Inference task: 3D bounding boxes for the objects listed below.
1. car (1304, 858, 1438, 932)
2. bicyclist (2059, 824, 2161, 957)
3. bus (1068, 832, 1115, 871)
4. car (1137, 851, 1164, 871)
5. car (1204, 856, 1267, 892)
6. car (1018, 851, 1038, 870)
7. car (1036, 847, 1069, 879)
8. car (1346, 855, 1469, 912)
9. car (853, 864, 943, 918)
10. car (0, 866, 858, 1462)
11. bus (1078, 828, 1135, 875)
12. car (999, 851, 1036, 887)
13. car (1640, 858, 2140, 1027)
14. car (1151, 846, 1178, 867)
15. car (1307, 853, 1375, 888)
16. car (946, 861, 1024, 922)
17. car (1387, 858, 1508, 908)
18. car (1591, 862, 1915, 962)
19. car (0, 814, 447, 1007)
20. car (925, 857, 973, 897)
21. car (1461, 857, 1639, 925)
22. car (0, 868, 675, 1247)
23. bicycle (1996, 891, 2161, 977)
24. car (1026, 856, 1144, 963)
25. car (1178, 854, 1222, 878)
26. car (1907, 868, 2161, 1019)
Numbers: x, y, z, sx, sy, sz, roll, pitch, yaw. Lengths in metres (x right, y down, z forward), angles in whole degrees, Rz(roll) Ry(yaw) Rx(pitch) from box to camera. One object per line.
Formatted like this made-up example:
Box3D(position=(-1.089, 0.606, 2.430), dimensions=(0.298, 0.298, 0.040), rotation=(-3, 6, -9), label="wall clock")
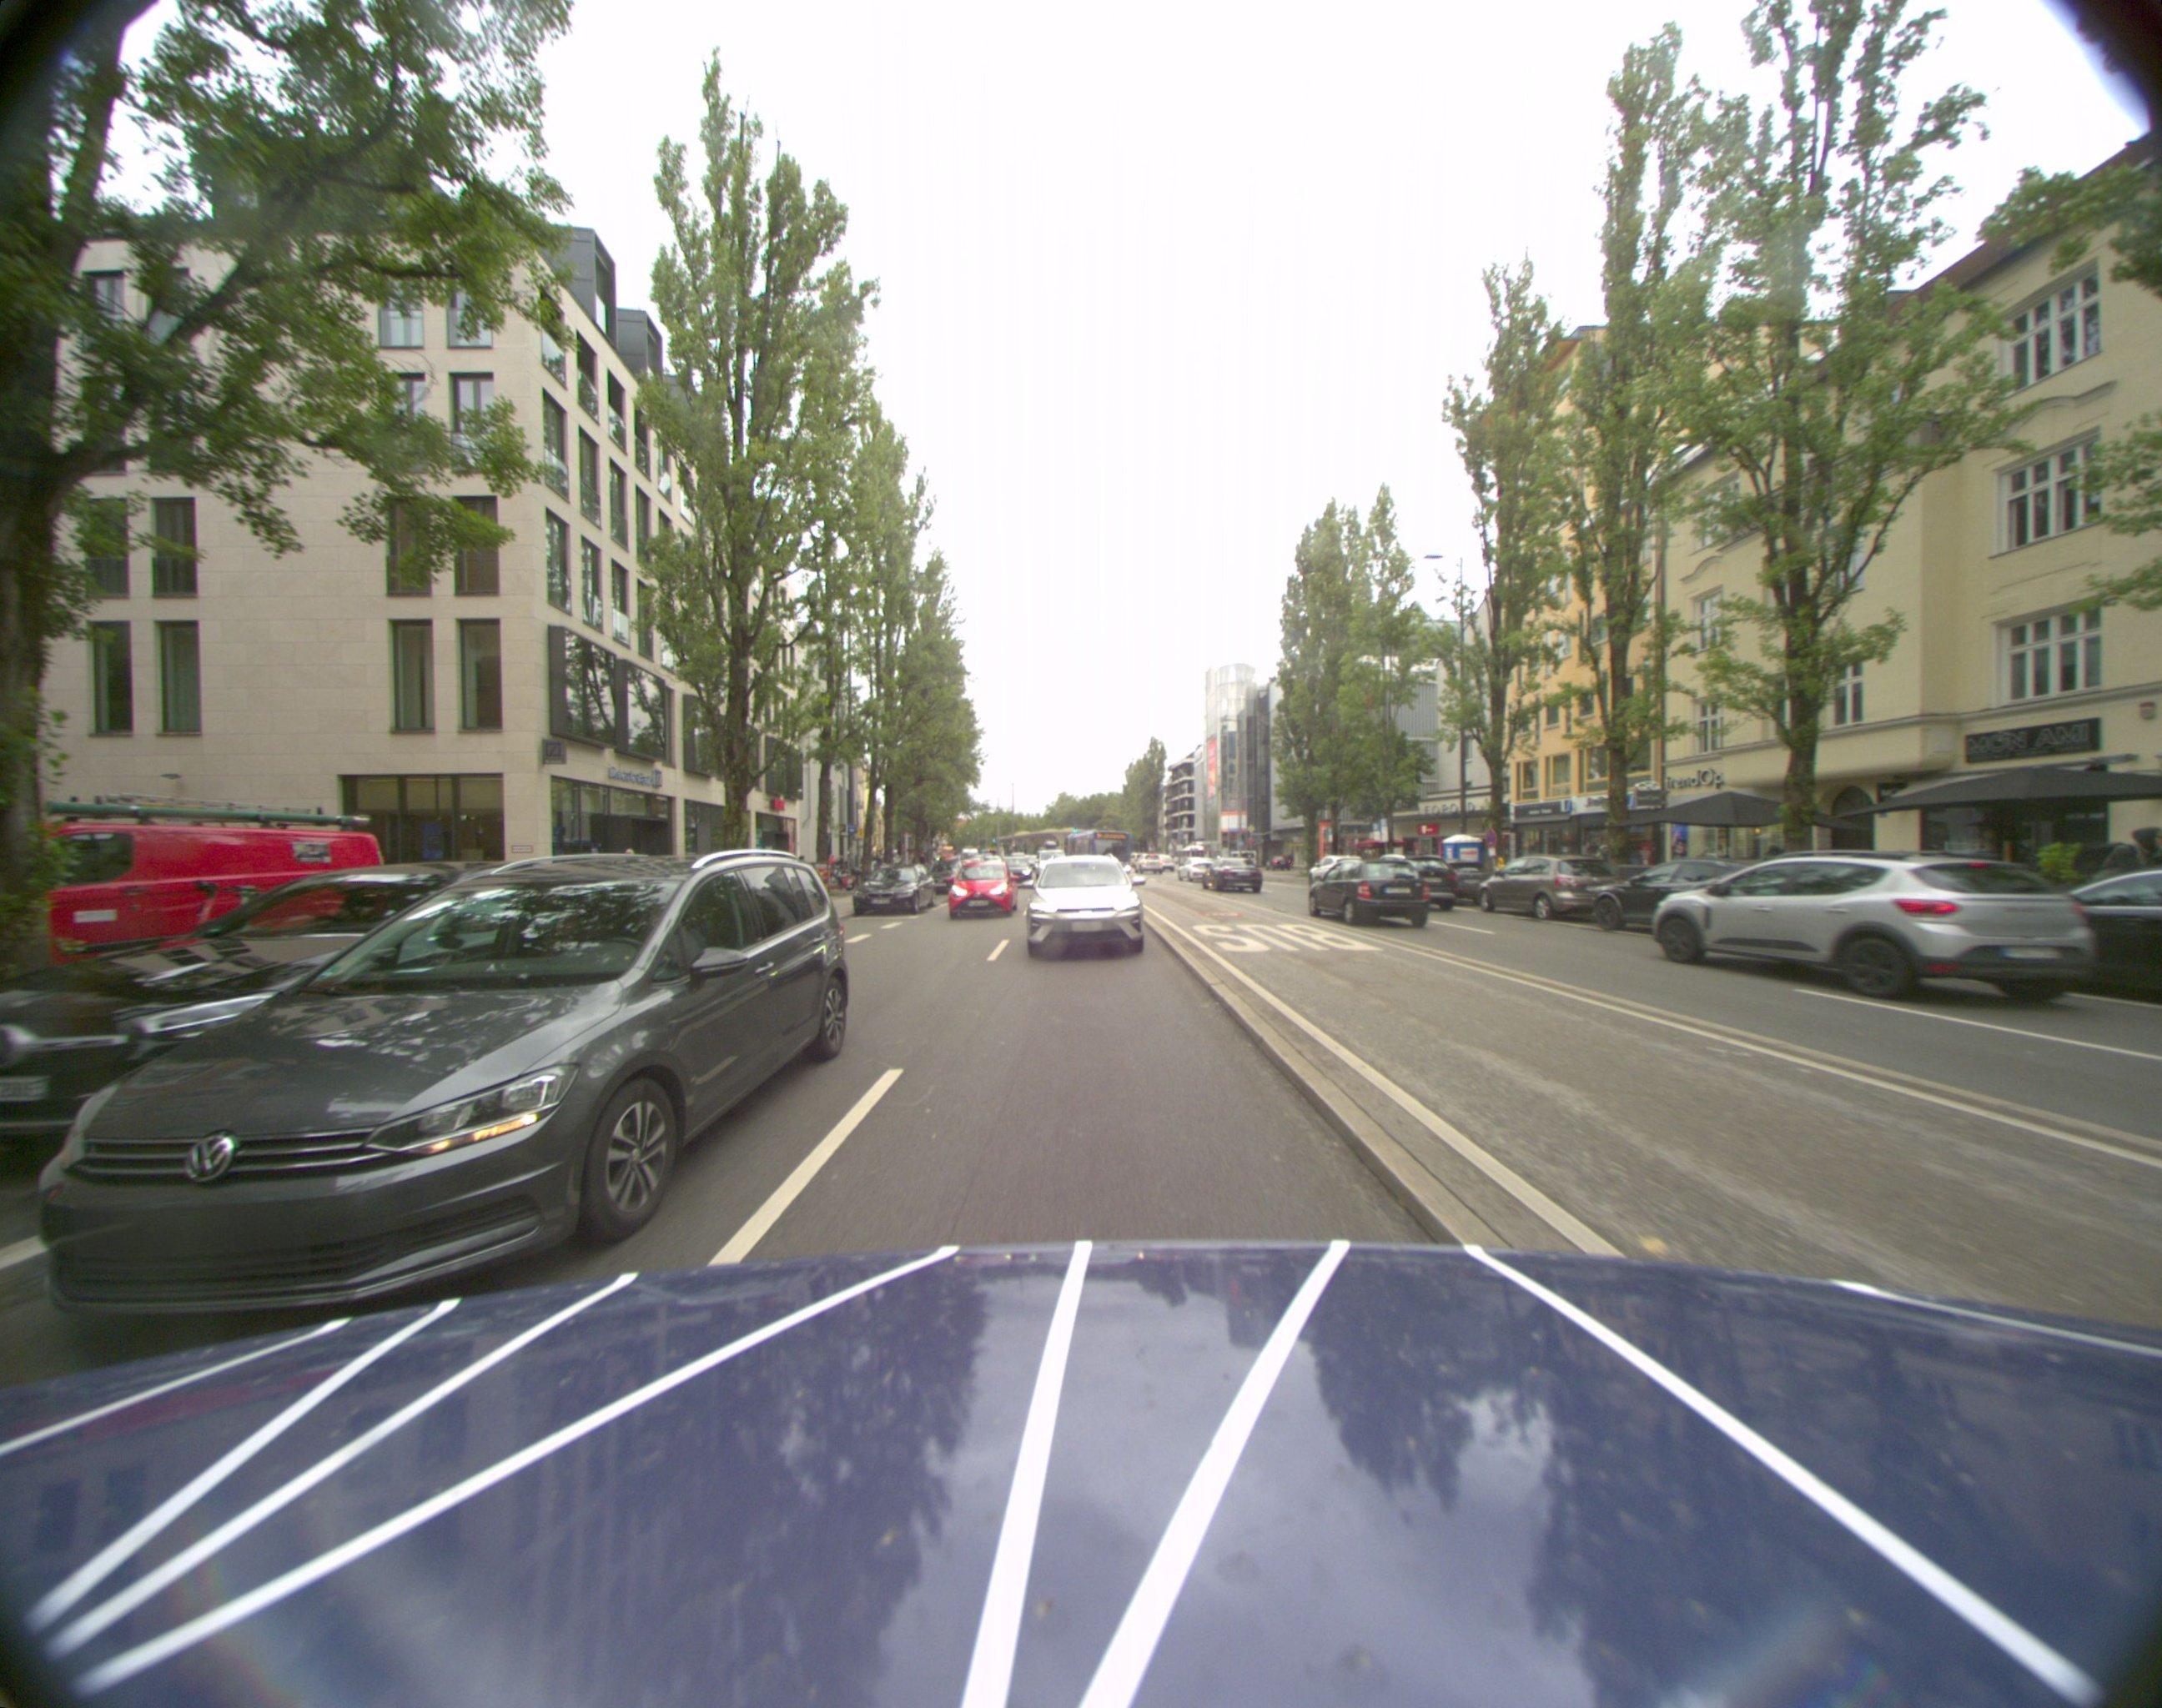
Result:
Box3D(position=(6.351, 0.831, 17.059), dimensions=(1.616, 1.432, 3.595), rotation=(0, 0, 0), label="car")
Box3D(position=(13.788, 0.458, 10.057), dimensions=(0.606, 1.695, 0.816), rotation=(-1, 1, 1), label="bicyclist")
Box3D(position=(0.712, -0.203, 61.941), dimensions=(2.691, 2.932, 10.046), rotation=(-1, 0, -5), label="bus")
Box3D(position=(5.836, 0.559, 64.125), dimensions=(1.863, 1.606, 4.362), rotation=(0, 0, 0), label="car")
Box3D(position=(6.483, 0.802, 32.381), dimensions=(1.781, 1.391, 4.362), rotation=(0, 0, 0), label="car")
Box3D(position=(-5.014, 0.560, 71.306), dimensions=(1.707, 1.683, 4.001), rotation=(-2, 0, -5), label="car")
Box3D(position=(-1.787, 0.497, 48.761), dimensions=(1.839, 1.831, 5.128), rotation=(-2, 1, 0), label="car")
Box3D(position=(9.503, 0.792, 22.508), dimensions=(1.750, 1.509, 4.362), rotation=(0, 0, 0), label="car")
Box3D(position=(-5.434, 1.062, 23.056), dimensions=(1.700, 1.353, 4.003), rotation=(-2, 0, 0), label="car")
Box3D(position=(-2.796, 0.932, 4.275), dimensions=(1.882, 1.582, 4.191), rotation=(-2, 0, -2), label="car")
Box3D(position=(1.593, -0.164, 52.766), dimensions=(2.697, 2.932, 10.046), rotation=(-1, 0, -5), label="bus")
Box3D(position=(-3.232, 0.716, 38.293), dimensions=(1.707, 1.683, 4.001), rotation=(-2, 0, -5), label="car")
Box3D(position=(9.107, 0.842, 9.191), dimensions=(1.718, 1.532, 4.076), rotation=(1, 0, 1), label="car")
Box3D(position=(7.986, 0.231, 73.158), dimensions=(1.999, 2.002, 3.999), rotation=(-1, 0, -3), label="car")
Box3D(position=(12.101, 0.724, 35.602), dimensions=(1.802, 1.568, 4.104), rotation=(0, 0, 1), label="car")
Box3D(position=(-2.559, 0.968, 21.095), dimensions=(1.616, 1.425, 4.003), rotation=(-2, 0, 0), label="car")
Box3D(position=(11.866, 0.880, 24.983), dimensions=(1.802, 1.432, 4.574), rotation=(0, 0, 1), label="car")
Box3D(position=(11.600, 0.895, 13.670), dimensions=(1.802, 1.432, 4.574), rotation=(0, 0, 1), label="car")
Box3D(position=(-11.440, 0.613, 10.398), dimensions=(1.682, 2.111, 4.003), rotation=(-1, 0, 12), label="car")
Box3D(position=(-5.801, 0.975, 33.891), dimensions=(1.701, 1.507, 3.998), rotation=(-3, 1, -5), label="car")
Box3D(position=(11.757, 0.845, 19.484), dimensions=(1.802, 1.495, 4.574), rotation=(0, 0, 1), label="car")
Box3D(position=(-5.181, 0.995, 5.721), dimensions=(1.789, 1.604, 4.498), rotation=(-2, 0, 0), label="car")
Box3D(position=(13.796, 1.042, 10.125), dimensions=(0.613, 0.963, 2.174), rotation=(-1, 0, 1), label="bicycle")
Box3D(position=(0.058, 0.848, 13.548), dimensions=(1.742, 1.510, 4.033), rotation=(-2, 0, 0), label="car")
Box3D(position=(7.161, 0.706, 46.122), dimensions=(1.782, 1.391, 4.080), rotation=(0, 0, -4), label="car")
Box3D(position=(11.583, 0.914, 7.556), dimensions=(1.802, 1.432, 4.574), rotation=(0, 0, 1), label="car")
